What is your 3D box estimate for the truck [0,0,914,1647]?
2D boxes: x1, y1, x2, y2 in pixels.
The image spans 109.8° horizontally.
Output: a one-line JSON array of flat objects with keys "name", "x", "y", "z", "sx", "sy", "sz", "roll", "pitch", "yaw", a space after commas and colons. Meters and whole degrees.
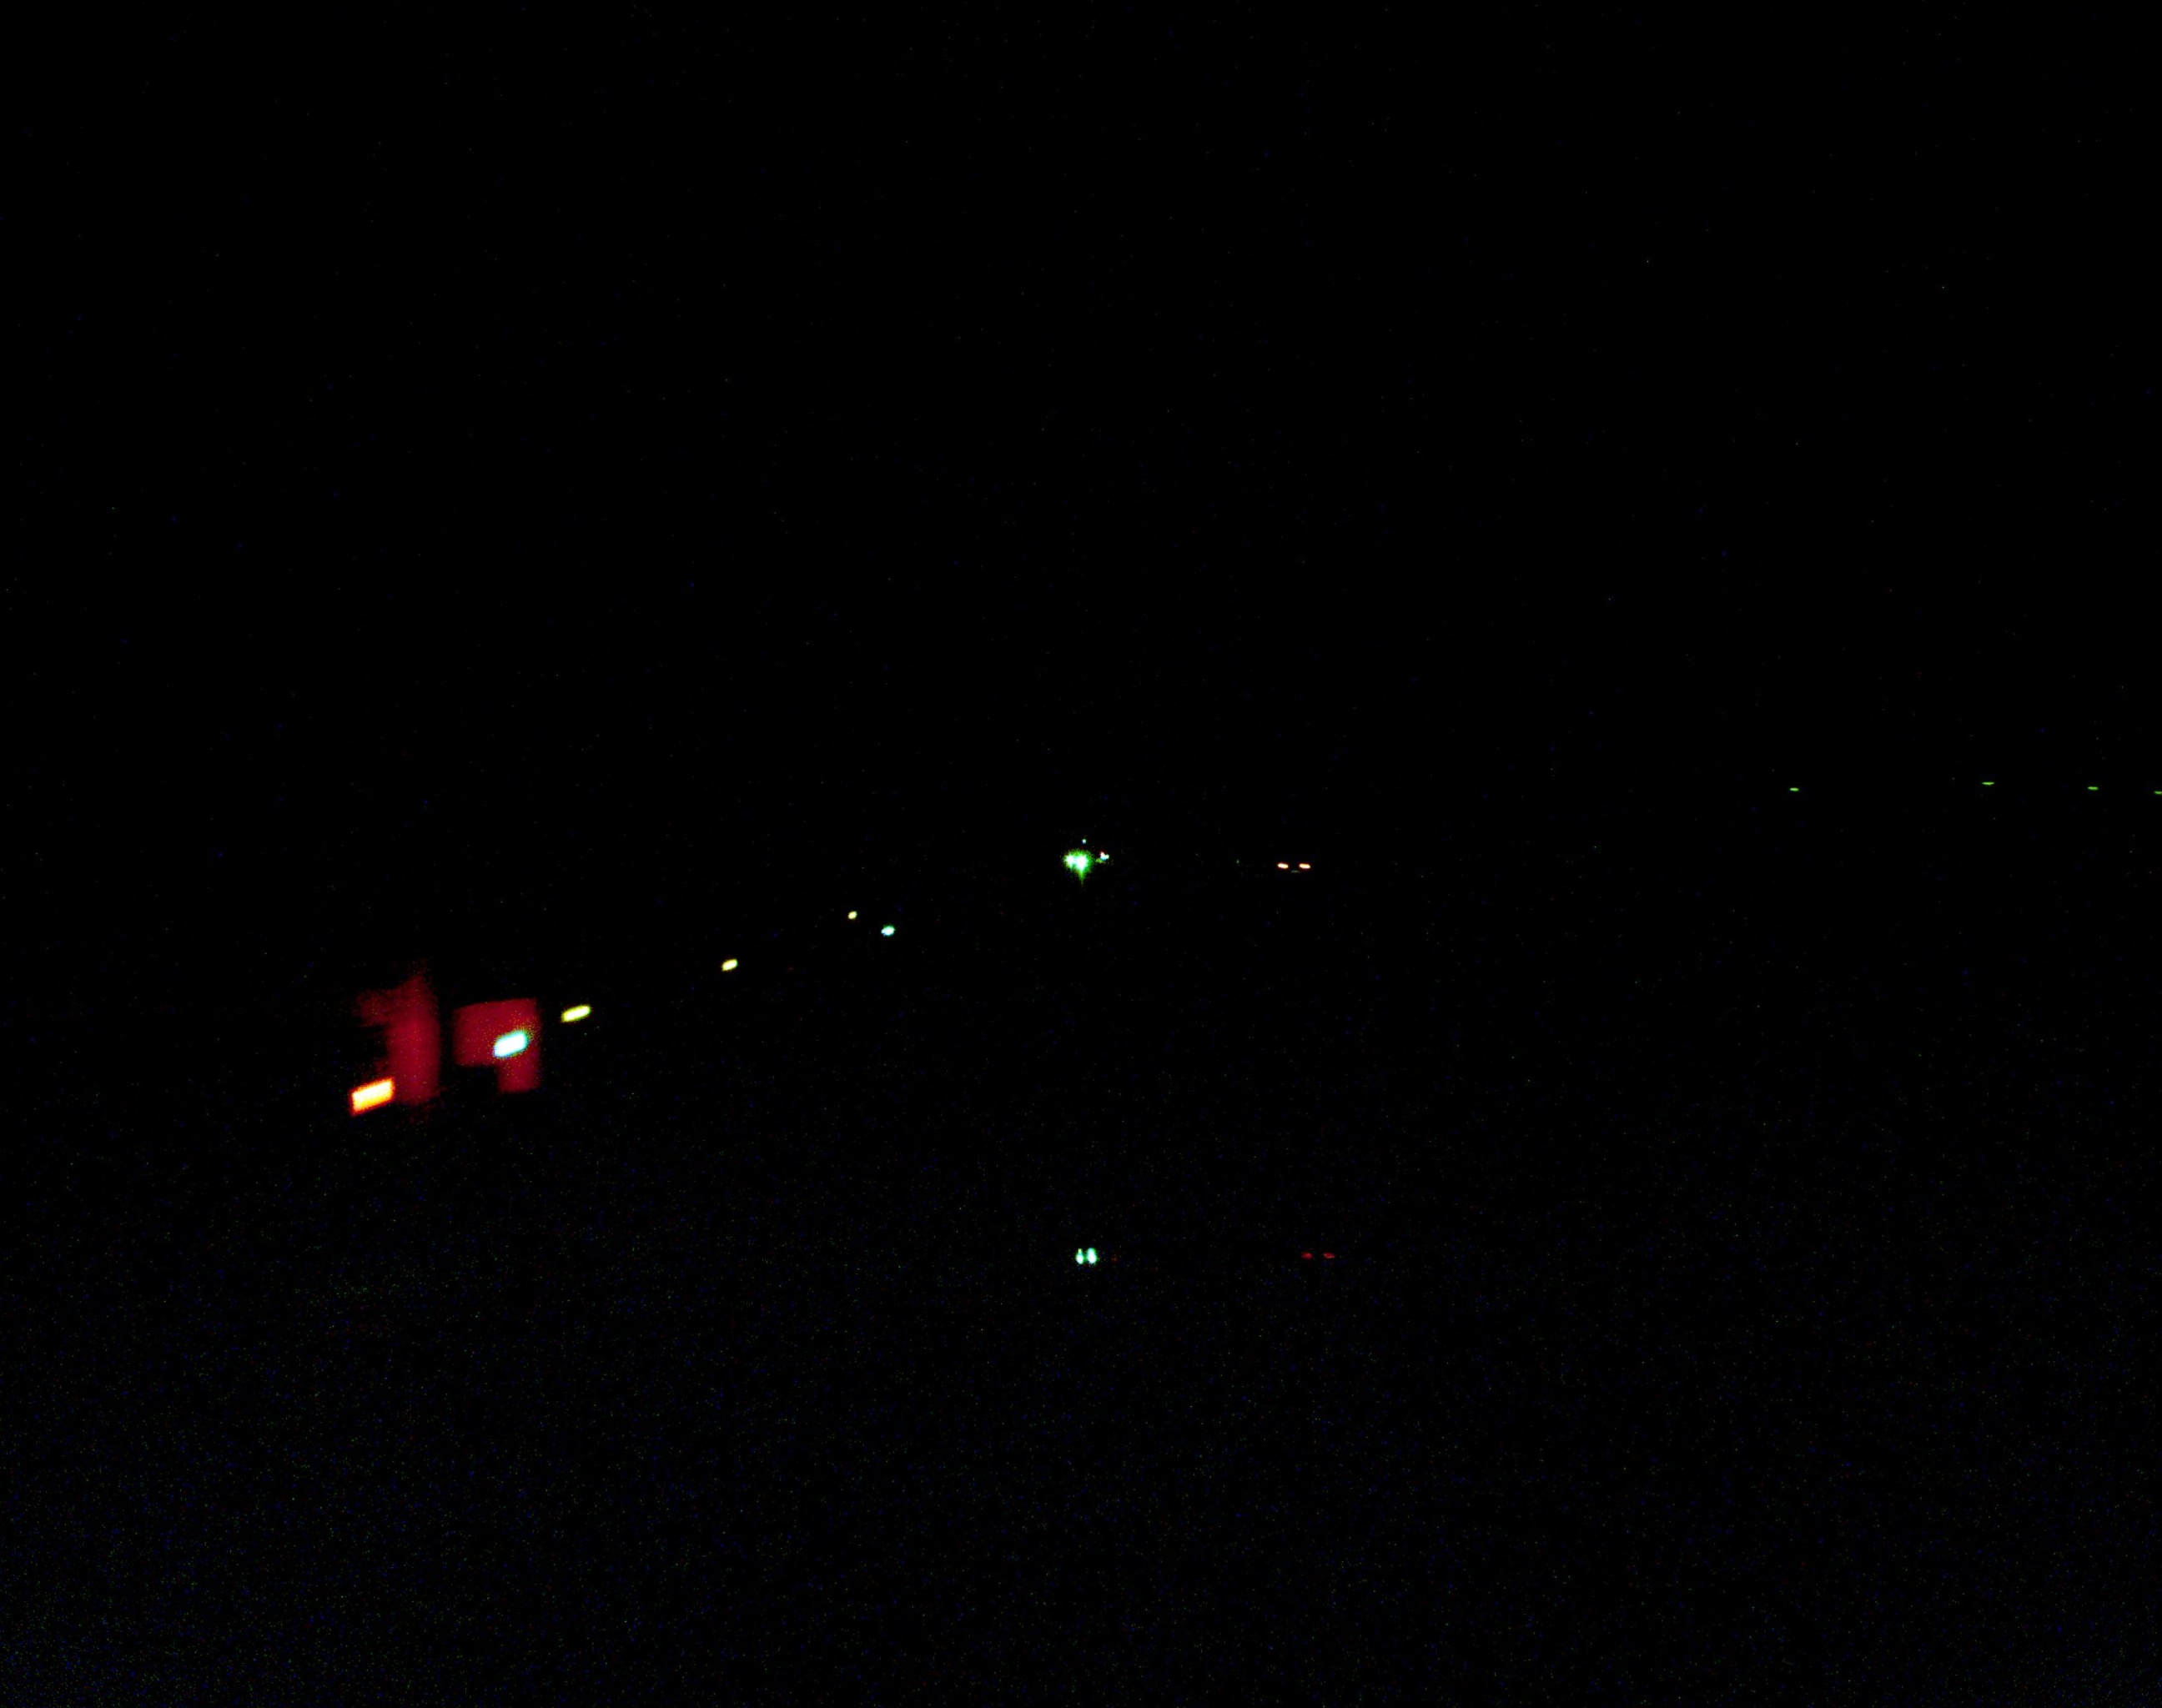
[{"name": "truck", "x": -3.775, "y": -0.262, "z": 3.914, "sx": 2.694, "sy": 4.082, "sz": 13.140, "roll": -2, "pitch": 0, "yaw": 0}]

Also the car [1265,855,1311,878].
[{"name": "car", "x": 12.255, "y": 0.712, "z": 45.292, "sx": 1.609, "sy": 1.322, "sz": 3.939, "roll": 1, "pitch": 0, "yaw": -1}]

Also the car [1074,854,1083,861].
[{"name": "car", "x": -0.472, "y": 0.667, "z": 143.783, "sx": 1.570, "sy": 1.336, "sz": 4.166, "roll": -2, "pitch": 0, "yaw": -1}]
